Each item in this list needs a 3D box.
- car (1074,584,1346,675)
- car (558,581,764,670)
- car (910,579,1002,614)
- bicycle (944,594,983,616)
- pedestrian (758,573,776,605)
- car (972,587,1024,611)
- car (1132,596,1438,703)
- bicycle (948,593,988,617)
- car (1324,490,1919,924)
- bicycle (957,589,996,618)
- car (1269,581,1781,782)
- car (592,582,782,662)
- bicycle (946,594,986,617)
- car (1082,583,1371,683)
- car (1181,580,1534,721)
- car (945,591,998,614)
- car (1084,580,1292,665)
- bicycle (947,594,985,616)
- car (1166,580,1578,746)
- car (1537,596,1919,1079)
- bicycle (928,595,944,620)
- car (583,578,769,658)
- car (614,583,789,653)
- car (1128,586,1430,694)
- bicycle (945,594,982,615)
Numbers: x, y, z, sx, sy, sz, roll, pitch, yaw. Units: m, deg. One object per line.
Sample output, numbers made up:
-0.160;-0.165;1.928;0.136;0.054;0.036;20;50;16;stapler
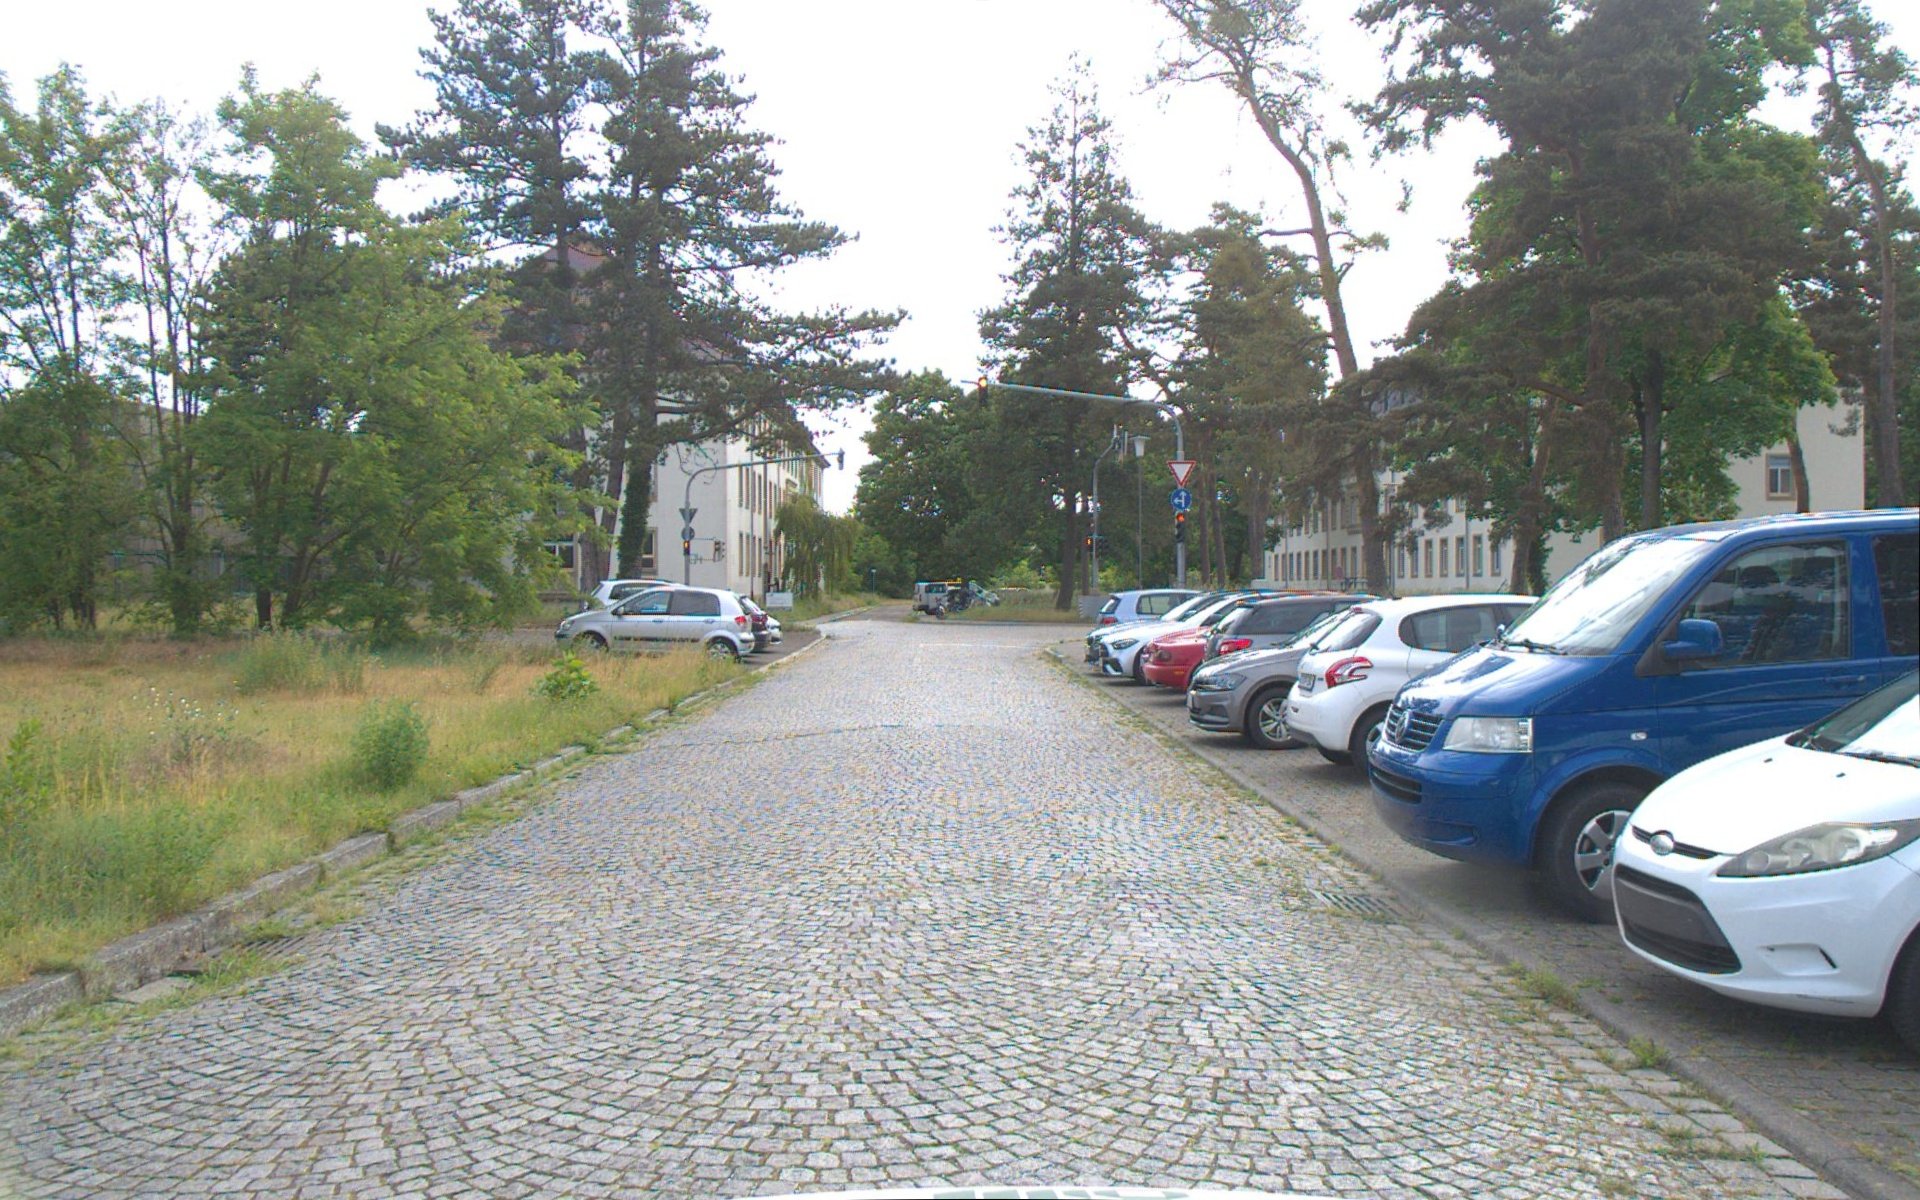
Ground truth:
4.480;0.507;30.054;4.588;1.441;1.870;-2;0;-3;car
-5.637;0.469;31.514;3.630;1.505;1.581;3;0;-4;car
-0.258;-0.233;99.349;5.263;1.958;2.020;-2;0;-10;car
0.186;0.269;83.390;1.935;1.088;0.582;0;0;-31;bicycle
-11.293;-0.639;96.797;0.766;1.869;0.733;0;0;-32;pedestrian
2.364;-0.055;103.279;3.168;1.441;1.724;0;0;-4;car
4.362;0.649;22.586;3.785;1.258;1.757;-2;0;-2;car
0.385;0.233;81.277;1.918;1.152;0.587;0;0;-8;bicycle
4.578;0.455;8.934;4.711;1.979;2.002;-2;0;-2;car
0.830;0.166;82.750;1.918;1.408;0.587;0;0;-8;bicycle
4.760;0.649;14.288;3.785;1.498;1.757;-2;0;-2;car
-5.579;0.450;34.113;3.672;1.453;1.581;3;0;-4;car
0.313;0.253;81.909;1.918;1.136;0.587;0;0;-8;bicycle
4.367;0.511;27.367;4.341;1.441;1.867;-2;0;-10;car
4.719;0.575;19.994;3.785;1.498;1.757;-2;0;-2;car
0.666;0.153;96.004;2.948;1.290;1.533;0;0;-7;car
4.427;0.425;32.507;3.846;1.503;1.642;-2;0;1;car
0.315;0.263;84.743;1.935;1.088;0.582;0;0;-31;bicycle
4.170;0.605;17.141;3.785;1.498;1.757;-2;0;-2;car
4.456;0.734;6.372;3.785;1.498;1.840;-2;0;-2;car
-1.143;0.355;78.053;0.591;1.152;1.959;0;0;-6;bicycle
-6.279;0.388;36.879;3.870;1.590;1.649;3;0;-4;car
-6.122;0.414;39.424;3.868;1.446;1.650;3;0;-2;car
4.765;0.577;25.107;4.175;1.441;1.871;-2;0;-1;car
0.180;0.228;88.426;1.931;1.088;0.583;0;0;-26;bicycle
